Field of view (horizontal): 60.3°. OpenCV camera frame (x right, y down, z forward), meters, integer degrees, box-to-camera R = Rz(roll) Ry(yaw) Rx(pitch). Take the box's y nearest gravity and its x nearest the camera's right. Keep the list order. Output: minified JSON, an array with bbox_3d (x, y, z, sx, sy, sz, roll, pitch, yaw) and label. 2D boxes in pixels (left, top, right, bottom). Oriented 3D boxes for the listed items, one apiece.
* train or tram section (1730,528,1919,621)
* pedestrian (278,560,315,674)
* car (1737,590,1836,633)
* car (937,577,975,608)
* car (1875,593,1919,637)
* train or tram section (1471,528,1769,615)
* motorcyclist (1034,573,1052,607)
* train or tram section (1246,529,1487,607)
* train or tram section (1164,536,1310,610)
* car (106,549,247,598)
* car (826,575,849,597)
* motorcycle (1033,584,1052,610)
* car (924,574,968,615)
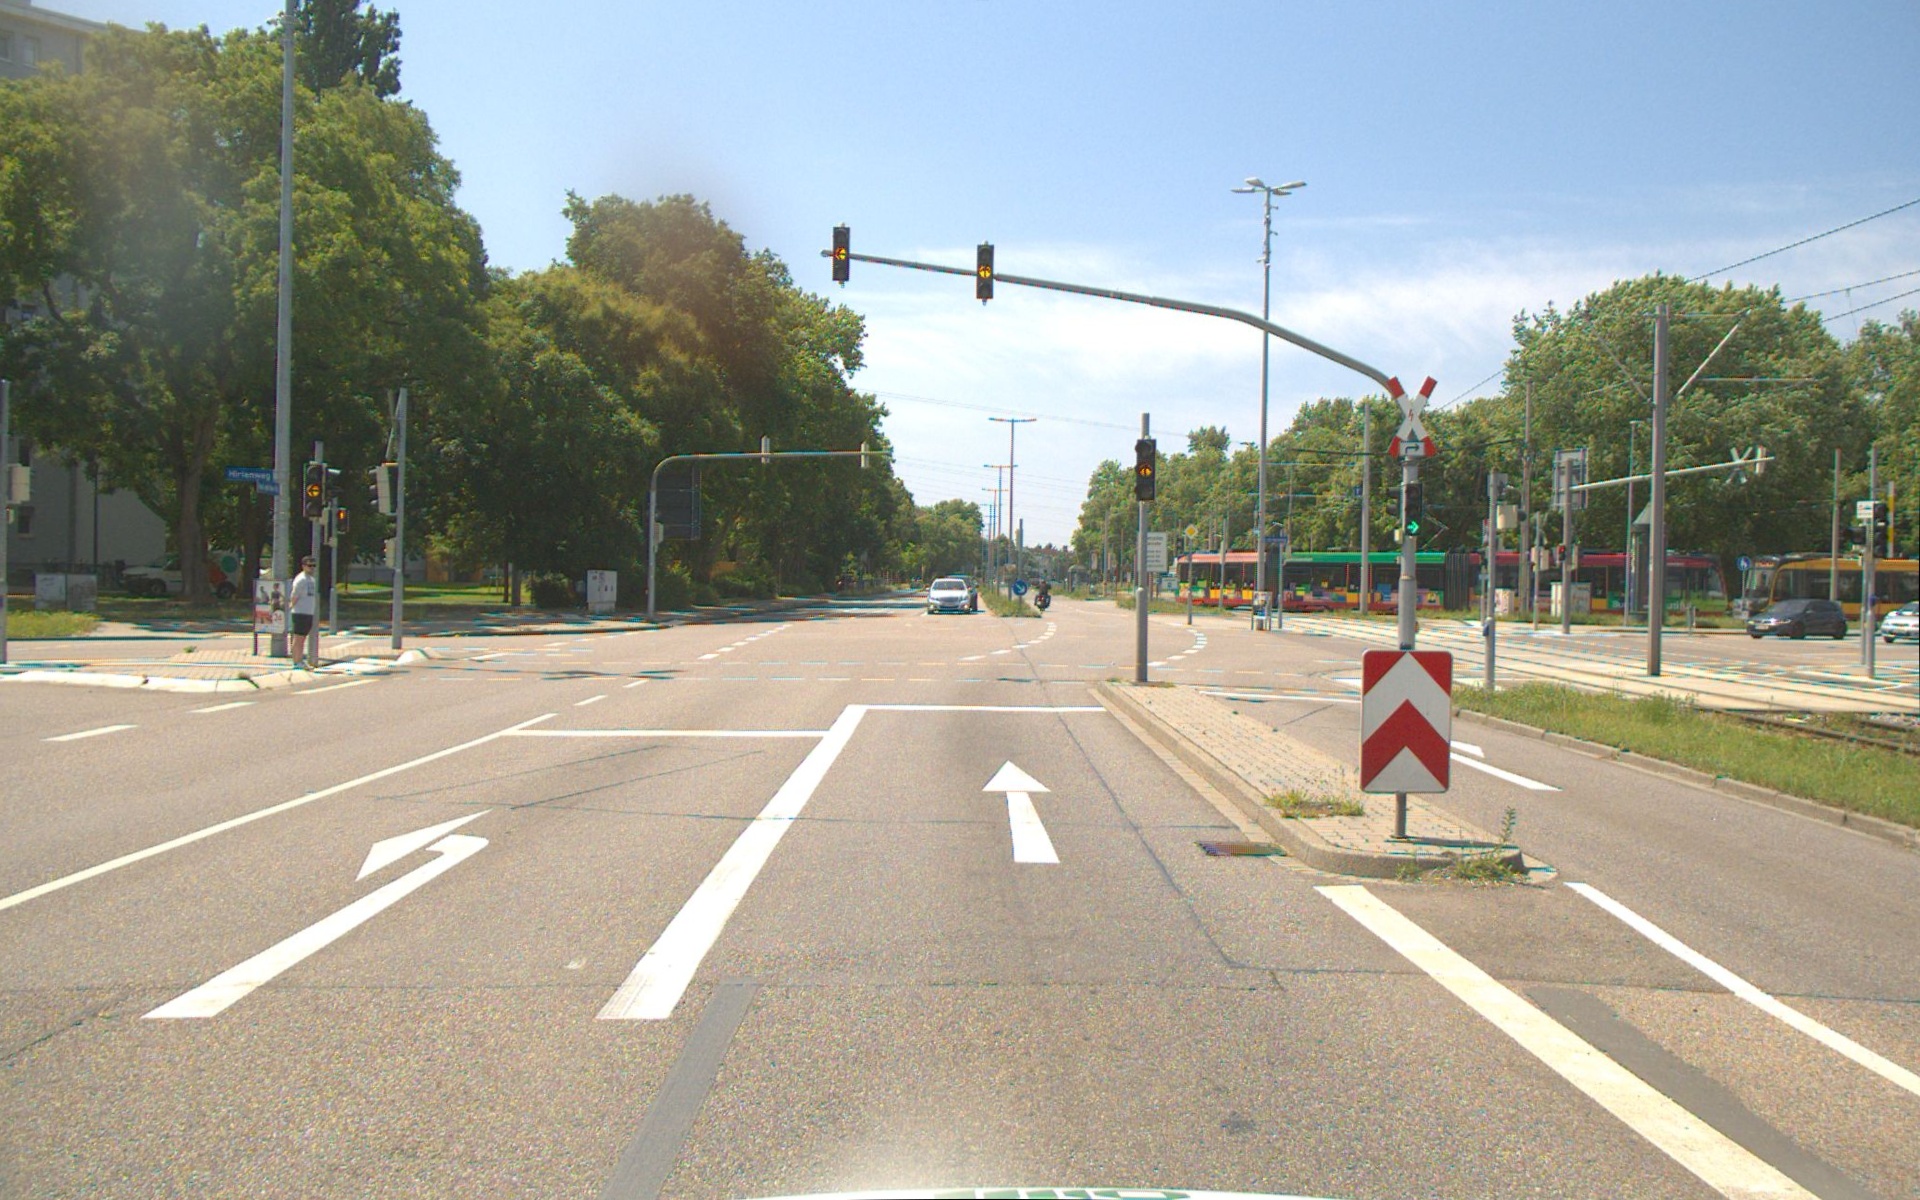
[{"bbox_3d":[45.518,-1.158,83.245,13.691,3.988,2.911,3,-2,-16],"label":"train or tram section"},{"bbox_3d":[-10.103,0.259,25.192,0.374,1.716,0.485,1,1,-3],"label":"pedestrian"},{"bbox_3d":[29.942,0.386,59.892,3.462,1.488,1.623,0,1,-31],"label":"car"},{"bbox_3d":[-0.158,-0.379,77.541,1.675,1.389,3.866,1,1,1],"label":"car"},{"bbox_3d":[34.111,0.509,58.421,3.761,1.488,1.621,0,1,-35],"label":"car"},{"bbox_3d":[32.994,-1.448,83.426,13.705,3.988,2.924,1,-2,19],"label":"train or tram section"},{"bbox_3d":[4.095,-0.488,81.955,0.774,1.671,1.211,2,1,0],"label":"motorcyclist"},{"bbox_3d":[21.926,-1.626,90.237,2.901,3.878,13.236,4,-3,-44],"label":"train or tram section"},{"bbox_3d":[16.436,-1.483,99.611,2.870,3.878,13.002,3,-2,-19],"label":"train or tram section"},{"bbox_3d":[-29.678,-0.992,62.725,1.759,1.799,4.524,1,1,40],"label":"car"},{"bbox_3d":[-11.904,-1.368,160.931,1.954,2.048,3.998,4,0,-2],"label":"car"},{"bbox_3d":[4.082,-0.160,82.151,0.829,1.277,2.449,2,1,1],"label":"motorcycle"},{"bbox_3d":[-0.582,-0.240,70.048,1.747,1.657,3.866,1,1,1],"label":"car"}]
